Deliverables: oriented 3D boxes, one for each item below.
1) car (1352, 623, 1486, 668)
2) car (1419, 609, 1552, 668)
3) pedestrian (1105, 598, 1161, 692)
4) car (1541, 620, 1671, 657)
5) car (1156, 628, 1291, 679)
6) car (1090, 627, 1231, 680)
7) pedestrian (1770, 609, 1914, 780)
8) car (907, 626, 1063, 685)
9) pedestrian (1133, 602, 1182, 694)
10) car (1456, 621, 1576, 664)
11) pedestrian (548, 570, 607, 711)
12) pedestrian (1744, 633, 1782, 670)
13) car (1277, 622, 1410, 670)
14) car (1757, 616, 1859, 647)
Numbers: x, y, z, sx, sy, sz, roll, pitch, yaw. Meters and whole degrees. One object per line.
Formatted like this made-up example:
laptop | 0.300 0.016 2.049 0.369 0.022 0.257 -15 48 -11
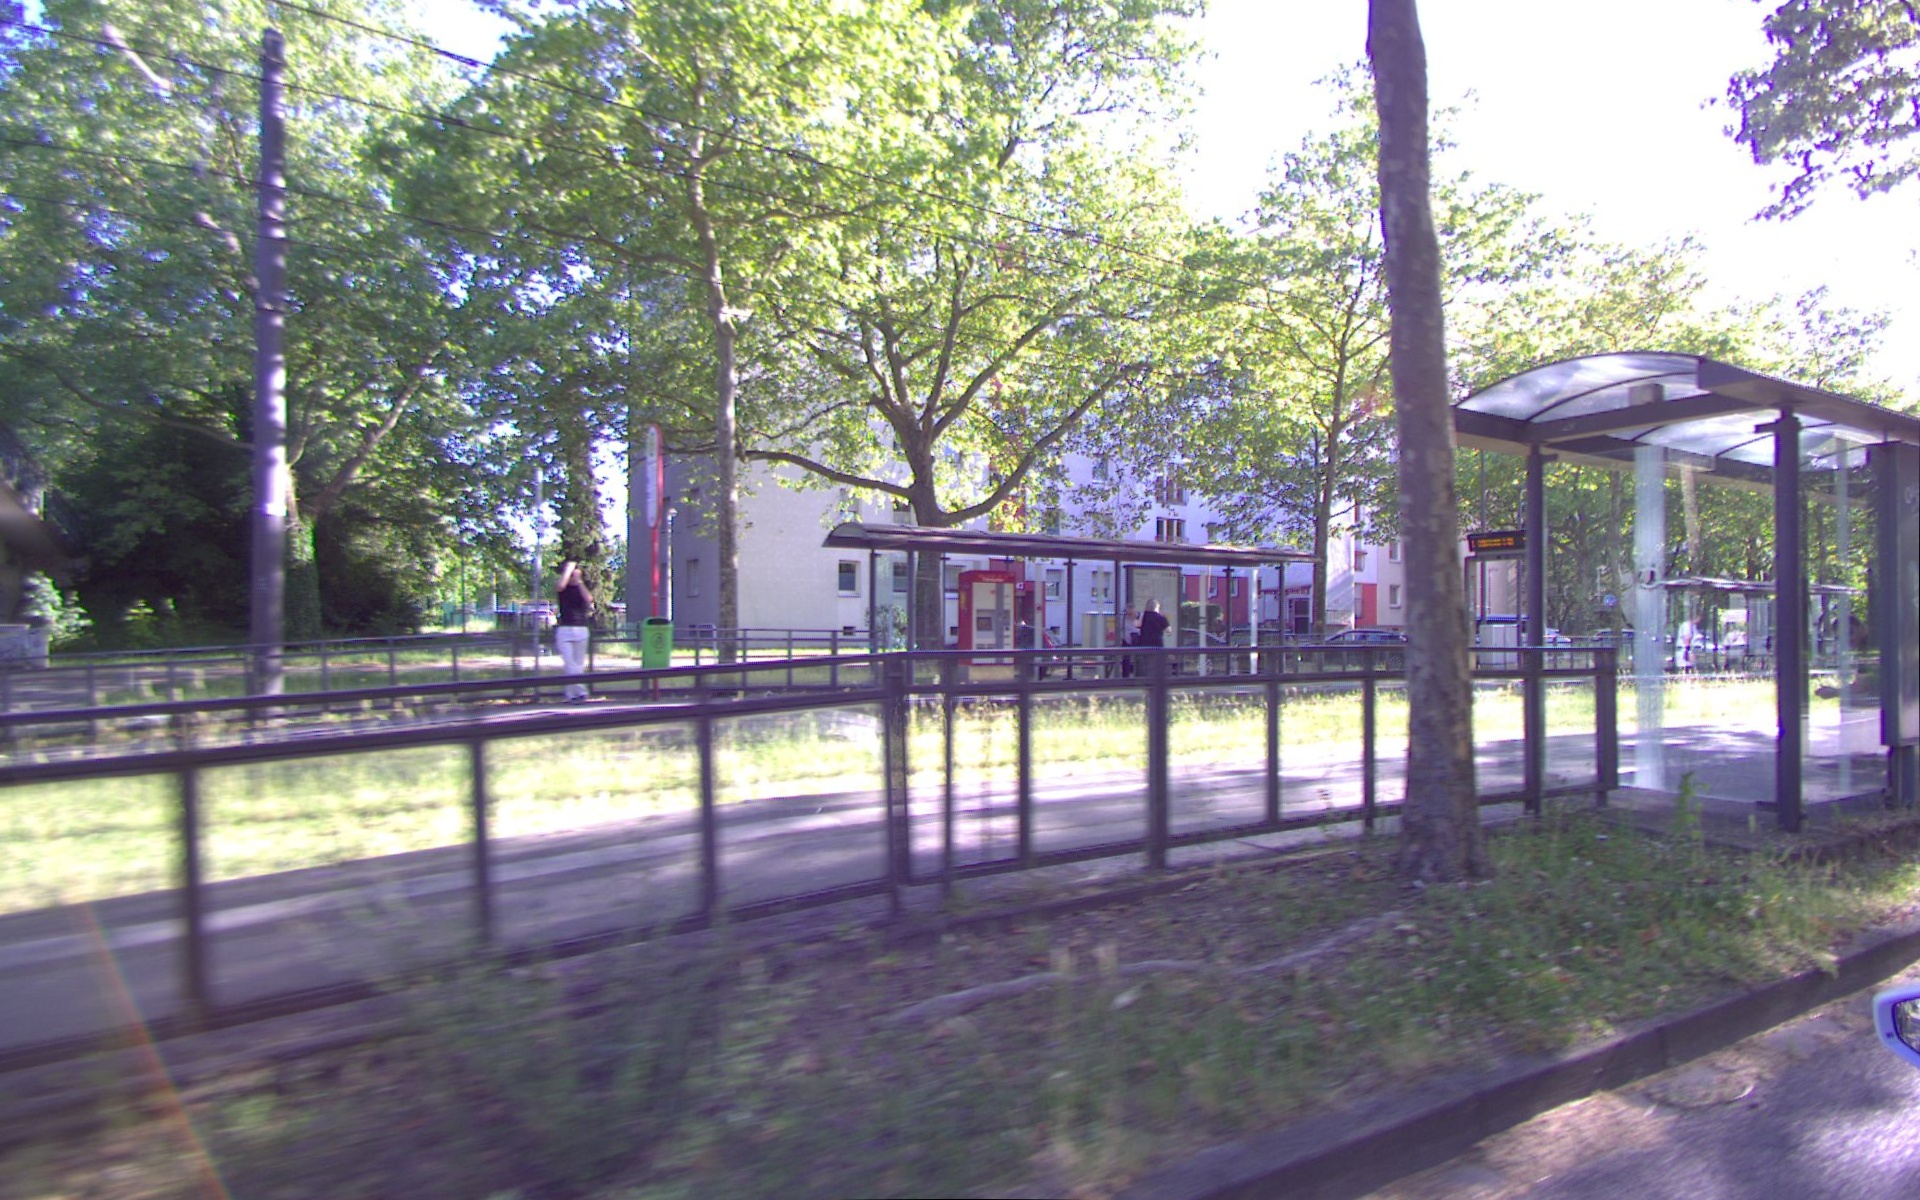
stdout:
car | 17.277 1.693 38.056 4.411 1.518 1.900 1 1 19
car | 20.472 1.460 39.354 4.413 2.091 1.899 1 1 22
pedestrian | 3.142 0.821 18.230 0.707 1.656 0.725 1 -2 -32
car | 28.365 1.658 44.232 4.409 1.524 1.901 0 0 12
car | 8.673 1.715 33.049 4.118 1.447 1.699 1 1 22
car | 6.310 1.648 31.627 4.118 1.447 1.699 1 1 22
pedestrian | 6.997 0.713 7.980 0.582 1.269 0.729 1 0 -35
car | 0.706 1.540 28.680 4.118 1.447 1.699 1 1 22
pedestrian | 3.378 0.820 17.222 0.671 1.533 0.644 0 -2 -4
car | 22.634 1.706 41.031 3.979 1.632 1.690 0 0 17
pedestrian | -4.980 0.520 13.097 0.494 1.794 0.484 1 0 20
pedestrian | 25.513 1.649 31.902 0.654 1.141 0.692 1 -4 -29
car | 13.947 1.646 36.756 4.411 1.518 1.900 1 1 19
car | 46.066 1.686 54.647 3.914 1.565 1.646 0 0 19
